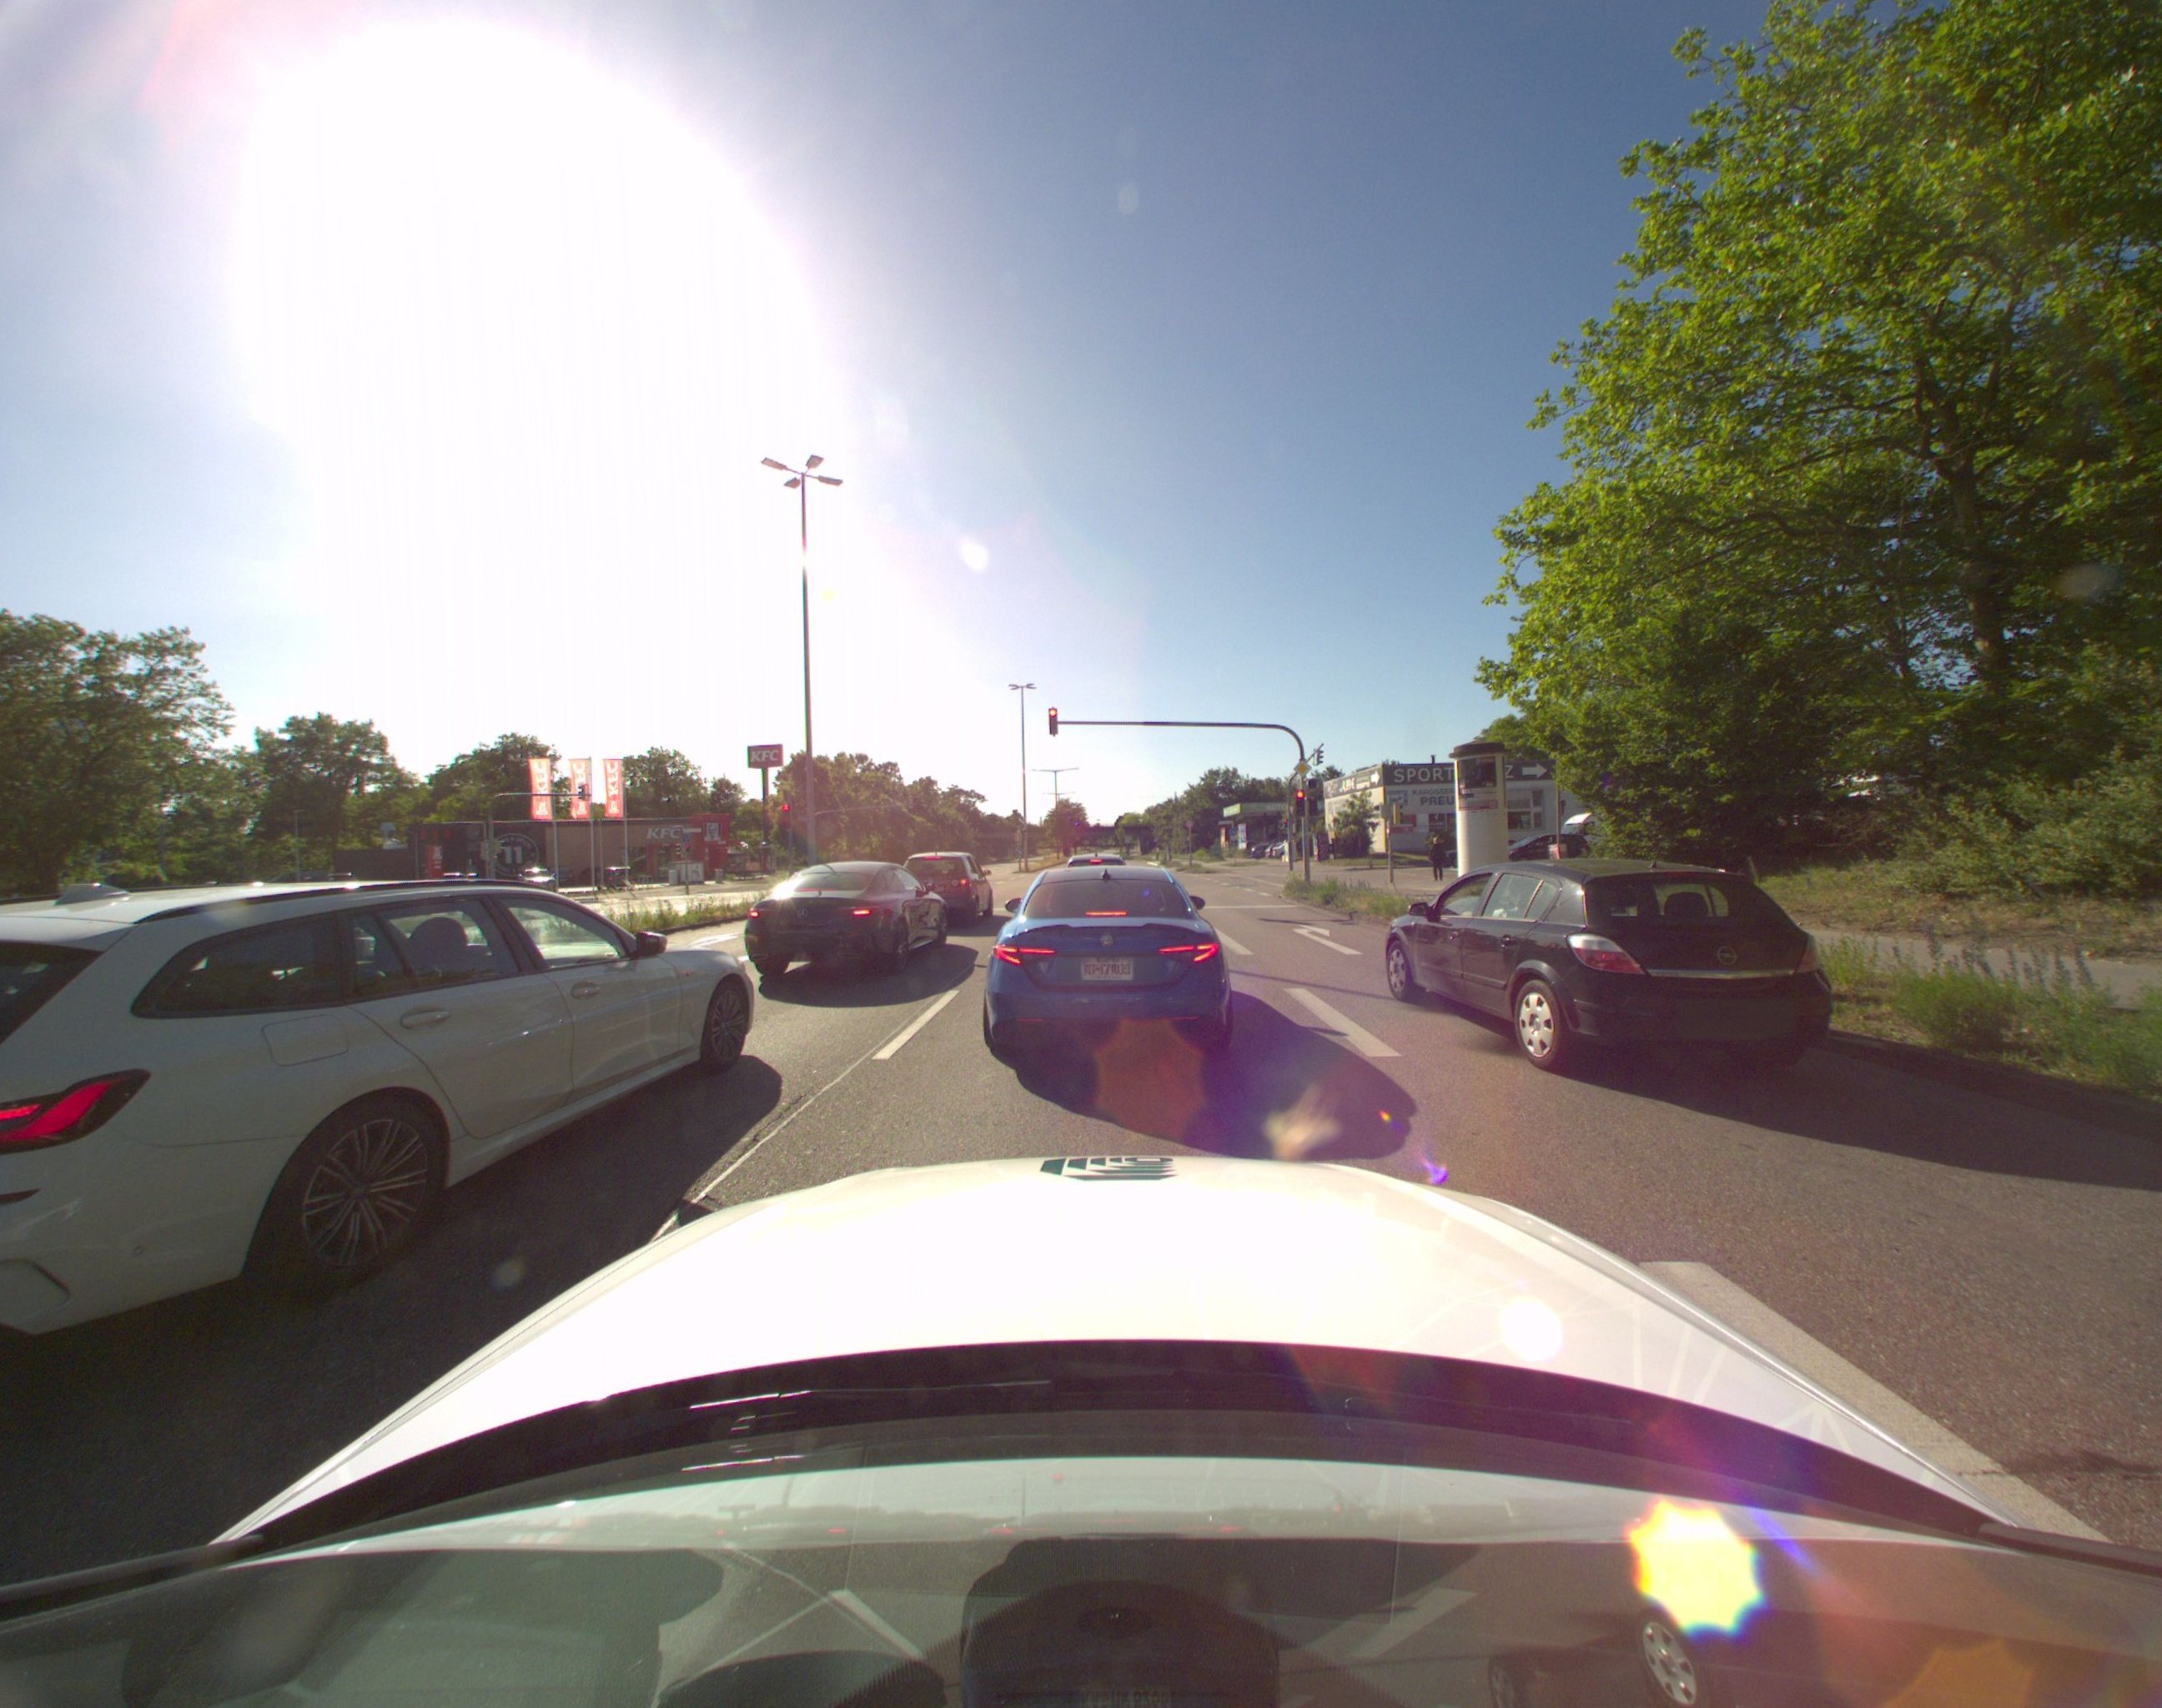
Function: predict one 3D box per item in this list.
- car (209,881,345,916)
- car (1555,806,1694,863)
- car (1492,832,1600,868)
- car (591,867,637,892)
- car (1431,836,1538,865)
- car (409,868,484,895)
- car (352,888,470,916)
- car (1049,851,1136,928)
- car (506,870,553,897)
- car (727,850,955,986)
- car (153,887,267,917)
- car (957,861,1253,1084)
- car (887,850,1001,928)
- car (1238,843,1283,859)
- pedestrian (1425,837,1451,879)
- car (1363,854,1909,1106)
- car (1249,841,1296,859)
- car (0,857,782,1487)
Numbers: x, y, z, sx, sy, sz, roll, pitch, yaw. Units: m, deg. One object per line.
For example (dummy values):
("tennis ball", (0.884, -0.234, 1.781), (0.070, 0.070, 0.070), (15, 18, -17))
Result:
("car", (-39.029, 2.153, 39.609), (4.608, 1.579, 1.936), (0, -1, 0))
("car", (28.588, -0.996, 42.983), (5.812, 2.672, 2.001), (-3, -1, 2))
("car", (22.526, -0.179, 39.535), (4.291, 1.650, 1.638), (0, -1, 1))
("car", (-33.830, 1.821, 58.939), (1.946, 1.740, 4.046), (0, -1, -45))
("car", (21.346, -0.167, 43.205), (4.803, 1.468, 1.758), (0, -1, 0))
("car", (-44.374, 1.873, 57.035), (1.974, 1.813, 3.796), (-1, -1, 39))
("car", (-32.117, 2.282, 39.120), (4.070, 1.252, 1.871), (0, -1, 0))
("car", (0.347, 0.710, 17.802), (1.696, 1.497, 3.722), (0, -1, 3))
("car", (-37.460, 1.977, 55.312), (1.946, 1.740, 4.046), (0, -1, -45))
("car", (-3.131, 0.735, 11.701), (1.805, 1.551, 4.544), (-1, 0, 1))
("car", (-45.920, 2.538, 42.998), (3.941, 1.453, 1.936), (0, -1, 0))
("car", (0.262, 0.782, 7.114), (1.901, 1.423, 3.722), (0, -1, 3))
("car", (-2.960, 0.727, 18.506), (1.806, 1.551, 4.353), (0, -1, 0))
("car", (18.496, -0.300, 83.943), (3.995, 1.552, 1.989), (0, -1, -16))
("pedestrian", (14.252, 0.173, 32.531), (0.814, 1.669, 0.514), (0, -1, 1))
("car", (3.940, 0.727, 6.864), (1.727, 1.442, 4.373), (0, 0, 2))
("car", (17.707, -0.348, 75.329), (3.971, 1.552, 2.001), (0, -1, 2))
("car", (-3.420, 0.794, 4.282), (1.805, 1.486, 4.599), (-1, 0, 2))
